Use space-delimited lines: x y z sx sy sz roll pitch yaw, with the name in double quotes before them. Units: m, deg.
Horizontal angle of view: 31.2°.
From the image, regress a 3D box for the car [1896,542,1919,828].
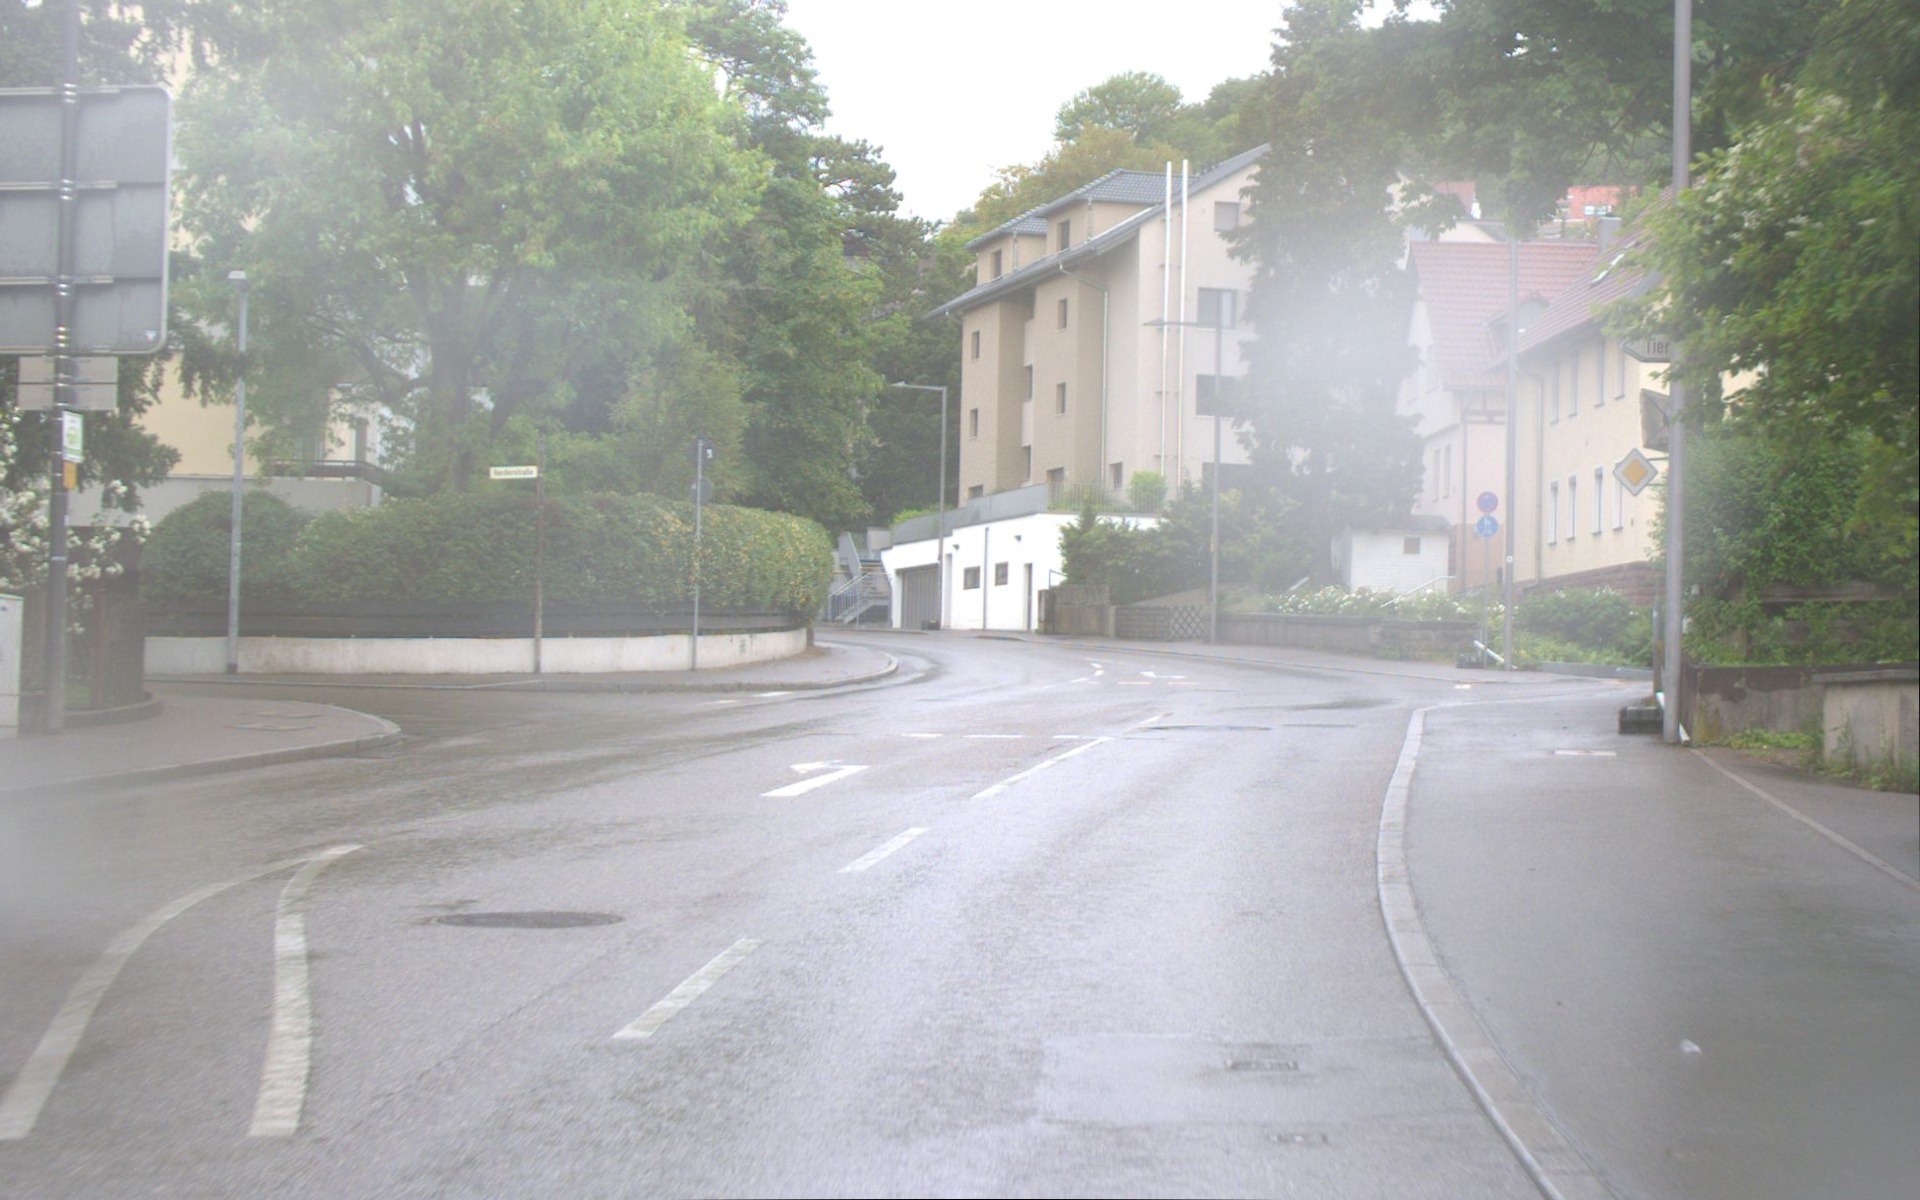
"car" 6.097 0.526 16.889 1.780 1.565 4.727 3 1 2
